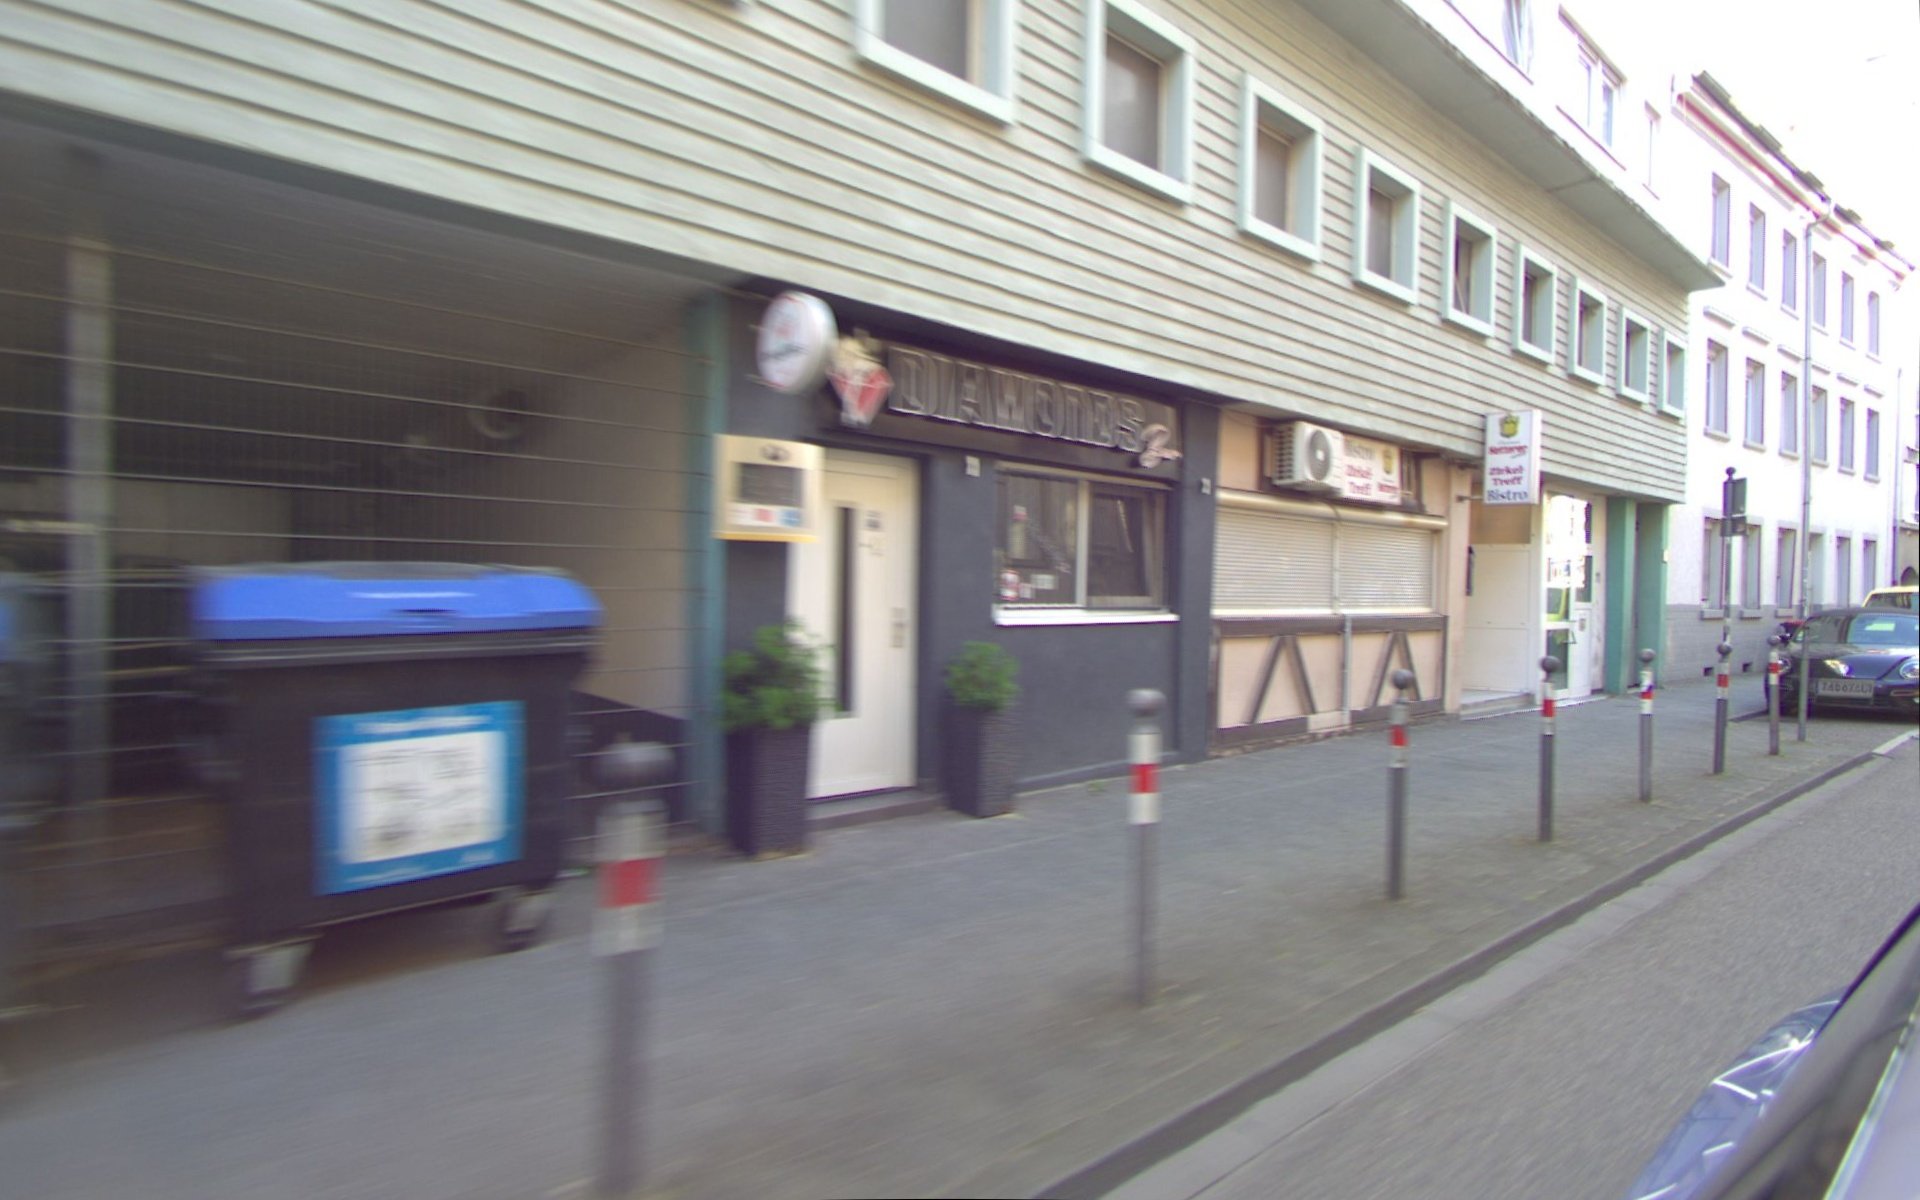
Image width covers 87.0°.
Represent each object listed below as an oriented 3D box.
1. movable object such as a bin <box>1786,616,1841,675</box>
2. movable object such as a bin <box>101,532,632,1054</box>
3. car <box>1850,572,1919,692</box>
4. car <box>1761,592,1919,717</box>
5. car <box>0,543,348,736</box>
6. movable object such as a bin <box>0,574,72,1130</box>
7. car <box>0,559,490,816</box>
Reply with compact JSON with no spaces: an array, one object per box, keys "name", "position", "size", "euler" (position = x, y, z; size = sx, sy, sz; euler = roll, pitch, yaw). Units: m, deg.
[{"name":"movable object such as a bin","position":[16.922,0.895,20.067],"size":[0.696,1.063,0.608],"euler":[1,6,-39]},{"name":"movable object such as a bin","position":[-2.153,0.506,3.752],"size":[1.524,1.497,0.983],"euler":[-2,4,-40]},{"name":"car","position":[17.174,0.524,17.468],"size":[4.756,1.906,1.888],"euler":[1,0,-38]},{"name":"car","position":[12.962,0.680,14.210],"size":[4.290,1.508,1.887],"euler":[1,0,-40]},{"name":"car","position":[-7.477,0.280,8.875],"size":[3.341,1.487,1.584],"euler":[0,2,-44]},{"name":"movable object such as a bin","position":[-3.196,0.663,2.609],"size":[1.298,1.401,0.983],"euler":[-2,4,-40]},{"name":"car","position":[-5.727,0.462,6.921],"size":[4.211,1.450,1.829],"euler":[-2,4,-45]}]
